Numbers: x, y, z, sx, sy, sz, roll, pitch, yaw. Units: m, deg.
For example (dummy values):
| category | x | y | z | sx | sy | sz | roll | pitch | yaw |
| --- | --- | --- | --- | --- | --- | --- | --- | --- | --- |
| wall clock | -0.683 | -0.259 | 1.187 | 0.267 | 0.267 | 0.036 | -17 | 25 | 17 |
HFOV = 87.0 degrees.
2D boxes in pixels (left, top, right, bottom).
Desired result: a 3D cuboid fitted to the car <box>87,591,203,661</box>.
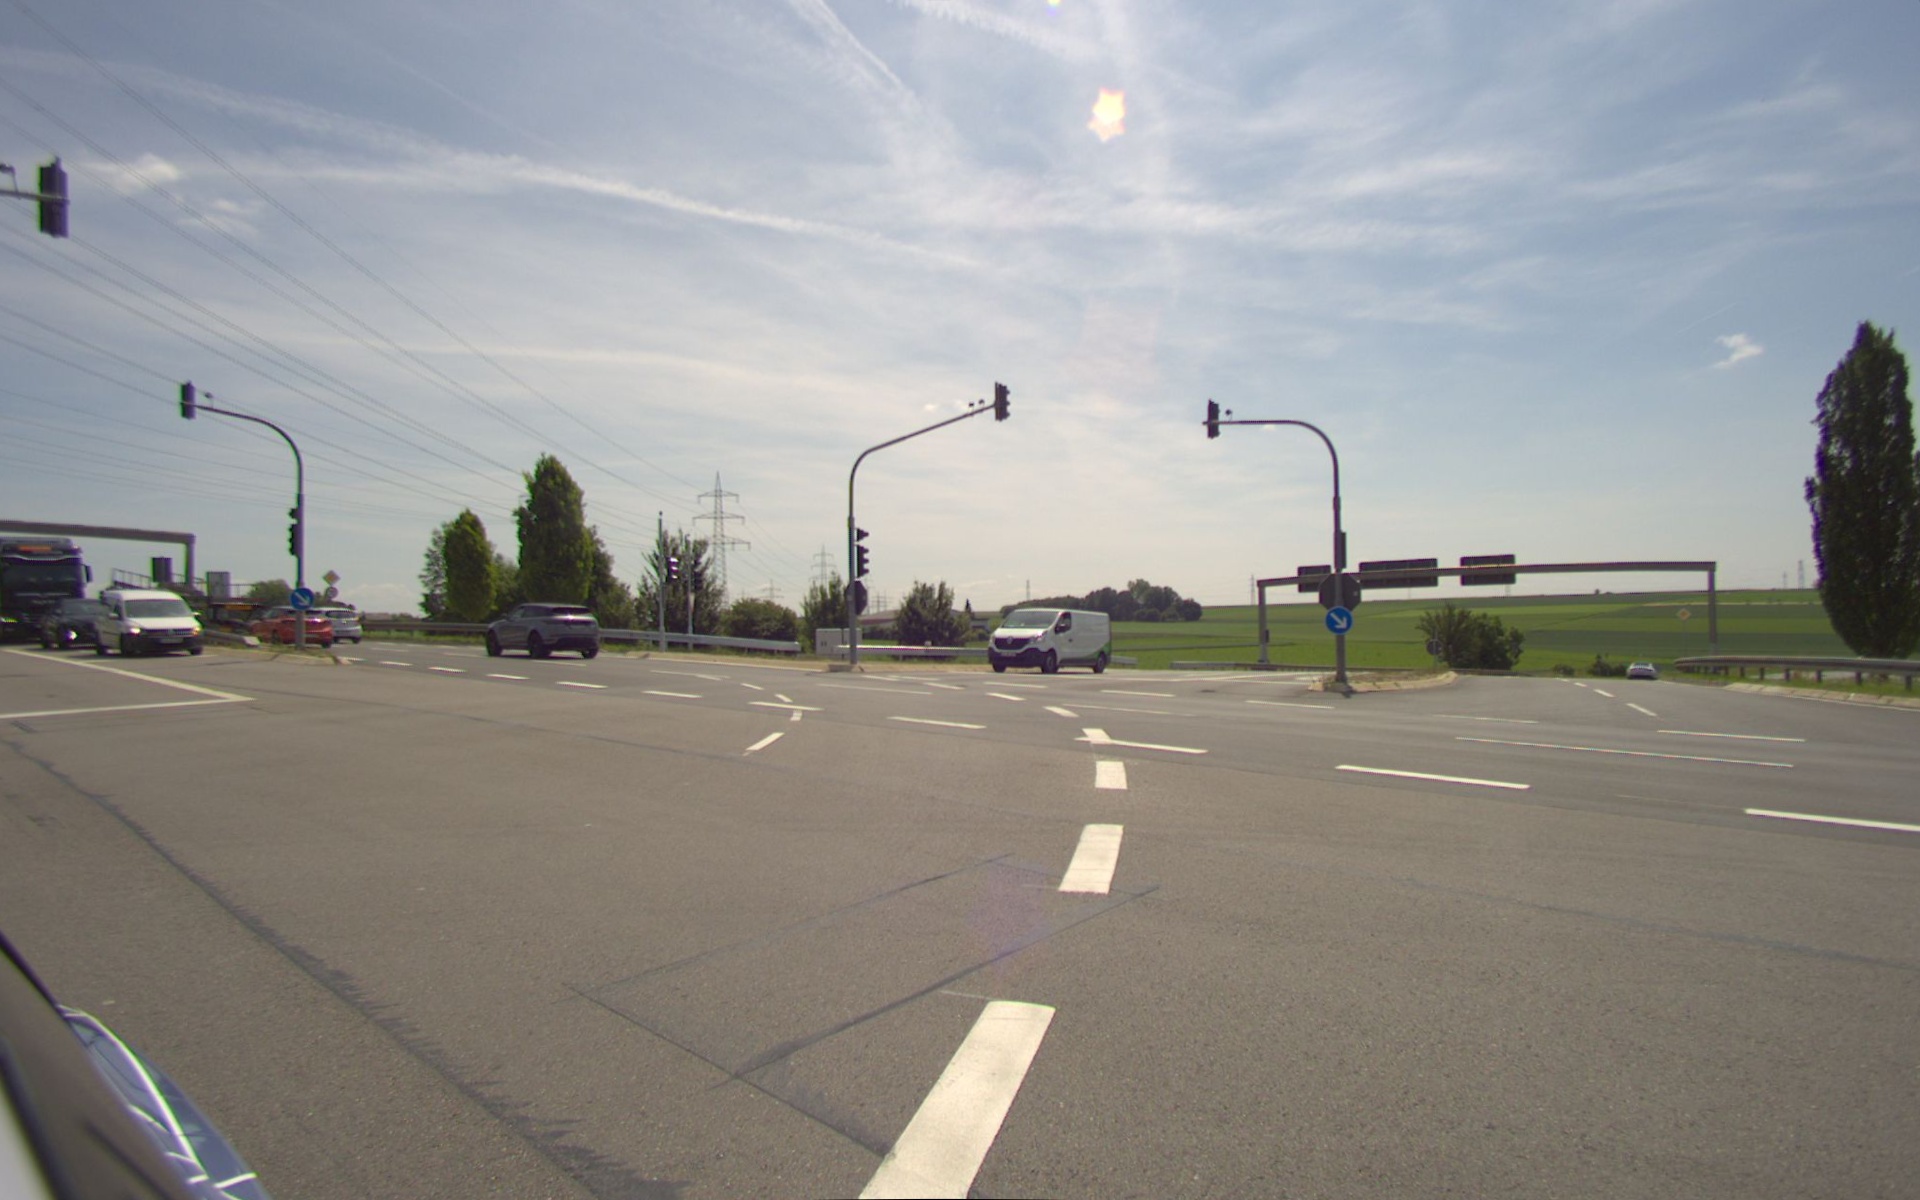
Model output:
| category | x | y | z | sx | sy | sz | roll | pitch | yaw |
| --- | --- | --- | --- | --- | --- | --- | --- | --- | --- |
| car | -23.009 | 0.690 | 28.514 | 4.750 | 1.812 | 1.749 | -1 | 1 | 41 |

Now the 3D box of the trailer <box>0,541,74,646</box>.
| category | x | y | z | sx | sy | sz | roll | pitch | yaw |
| --- | --- | --- | --- | --- | --- | --- | --- | --- | --- |
| trailer | -40.878 | -0.230 | 42.854 | 13.772 | 3.943 | 2.756 | 0 | 1 | 39 |

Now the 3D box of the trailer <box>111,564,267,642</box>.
| category | x | y | z | sx | sy | sz | roll | pitch | yaw |
| --- | --- | --- | --- | --- | --- | --- | --- | --- | --- |
| trailer | -43.710 | 0.110 | 56.824 | 19.781 | 3.791 | 2.613 | 0 | 0 | 40 |

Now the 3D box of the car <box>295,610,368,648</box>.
| category | x | y | z | sx | sy | sz | roll | pitch | yaw |
| --- | --- | --- | --- | --- | --- | --- | --- | --- | --- |
| car | -26.866 | 1.216 | 43.208 | 3.800 | 1.508 | 1.626 | 0 | -1 | 42 |

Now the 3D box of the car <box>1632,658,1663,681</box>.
| category | x | y | z | sx | sy | sz | roll | pitch | yaw |
| --- | --- | --- | --- | --- | --- | --- | --- | --- | --- |
| car | 53.757 | 5.404 | 79.092 | 1.632 | 1.471 | 4.434 | 0 | 1 | 39 |

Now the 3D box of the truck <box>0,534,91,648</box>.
| category | x | y | z | sx | sy | sz | roll | pitch | yaw |
| --- | --- | --- | --- | --- | --- | --- | --- | --- | --- |
| truck | -35.682 | -0.330 | 38.624 | 5.964 | 4.043 | 2.756 | 0 | 1 | 39 |

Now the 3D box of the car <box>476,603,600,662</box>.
| category | x | y | z | sx | sy | sz | roll | pitch | yaw |
| --- | --- | --- | --- | --- | --- | --- | --- | --- | --- |
| car | -12.733 | 0.938 | 30.413 | 4.325 | 1.636 | 1.627 | 0 | -2 | 41 |

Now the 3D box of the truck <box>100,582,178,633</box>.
| category | x | y | z | sx | sy | sz | roll | pitch | yaw |
| --- | --- | --- | --- | --- | --- | --- | --- | --- | --- |
| truck | -51.184 | 0.441 | 63.067 | 5.986 | 3.036 | 2.771 | 0 | 0 | 41 |

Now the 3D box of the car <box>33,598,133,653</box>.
| category | x | y | z | sx | sy | sz | roll | pitch | yaw |
| --- | --- | --- | --- | --- | --- | --- | --- | --- | --- |
| car | -28.810 | 0.786 | 33.206 | 4.345 | 1.670 | 1.837 | -1 | 1 | 40 |

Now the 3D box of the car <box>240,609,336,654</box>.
| category | x | y | z | sx | sy | sz | roll | pitch | yaw |
| --- | --- | --- | --- | --- | --- | --- | --- | --- | --- |
| car | -23.772 | 1.079 | 35.737 | 4.061 | 1.508 | 1.628 | 0 | -2 | 39 |

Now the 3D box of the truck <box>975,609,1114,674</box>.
| category | x | y | z | sx | sy | sz | roll | pitch | yaw |
| --- | --- | --- | --- | --- | --- | --- | --- | --- | --- |
| truck | 2.664 | 1.245 | 30.617 | 1.994 | 1.770 | 5.224 | 0 | -2 | 32 |
